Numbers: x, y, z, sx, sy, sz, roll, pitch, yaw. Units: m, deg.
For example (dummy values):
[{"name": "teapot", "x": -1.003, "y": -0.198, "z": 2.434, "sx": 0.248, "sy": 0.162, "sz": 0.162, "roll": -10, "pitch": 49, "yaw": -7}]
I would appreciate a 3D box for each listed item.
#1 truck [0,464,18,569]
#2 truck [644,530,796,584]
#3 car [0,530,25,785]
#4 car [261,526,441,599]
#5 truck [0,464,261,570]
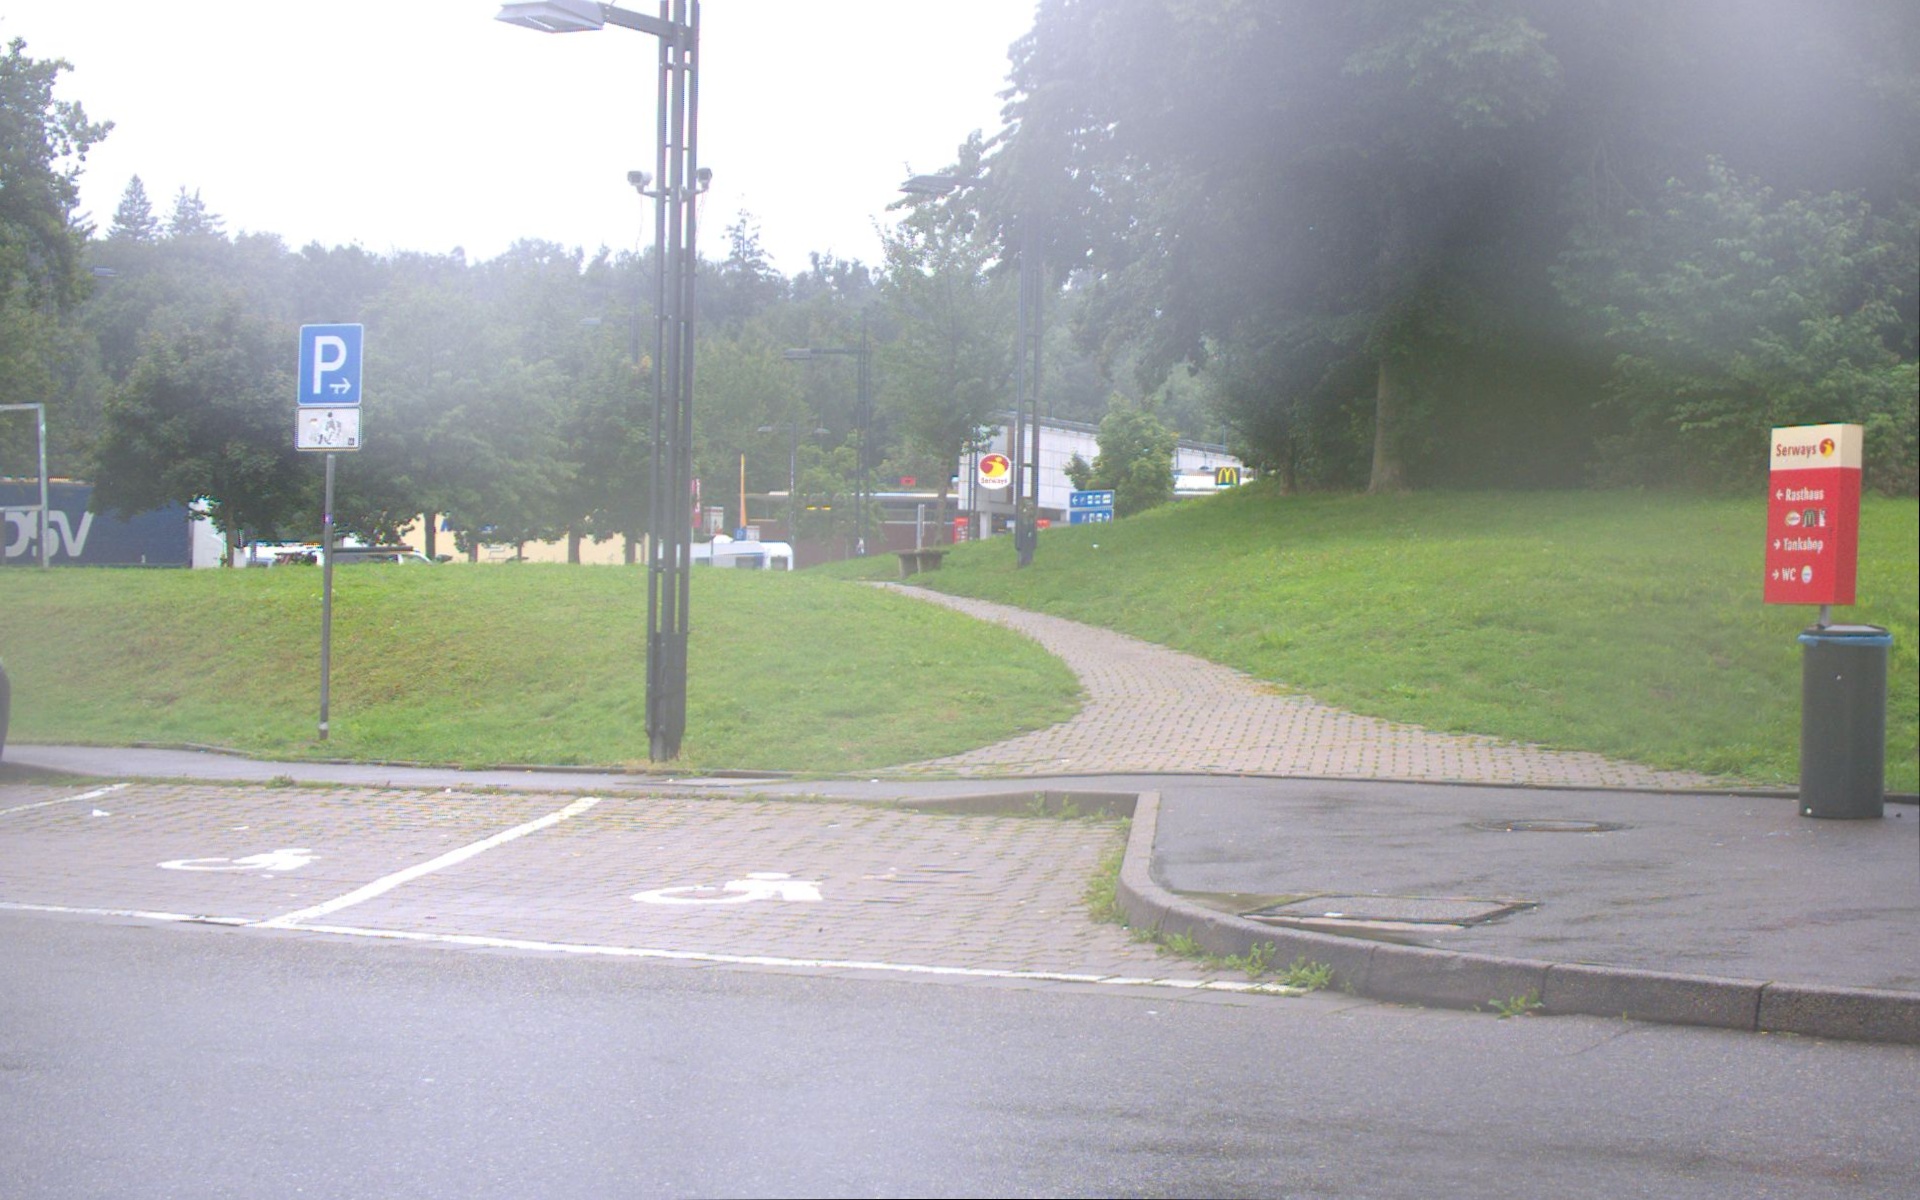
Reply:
[{"name": "truck", "x": -28.612, "y": -2.349, "z": 94.657, "sx": 2.189, "sy": 2.910, "sz": 5.380, "roll": 1, "pitch": 1, "yaw": 24}, {"name": "truck", "x": -9.336, "y": -1.671, "z": 133.805, "sx": 5.413, "sy": 2.007, "sz": 2.364, "roll": 1, "pitch": 1, "yaw": 25}, {"name": "car", "x": -7.810, "y": 0.451, "z": 21.490, "sx": 2.018, "sy": 1.705, "sz": 4.341, "roll": -1, "pitch": 1, "yaw": 12}, {"name": "car", "x": -15.491, "y": -0.947, "z": 87.507, "sx": 4.124, "sy": 1.777, "sz": 1.844, "roll": 0, "pitch": 1, "yaw": -36}, {"name": "truck", "x": -25.474, "y": -2.375, "z": 101.627, "sx": 2.188, "sy": 2.910, "sz": 13.082, "roll": 1, "pitch": 1, "yaw": 24}]
